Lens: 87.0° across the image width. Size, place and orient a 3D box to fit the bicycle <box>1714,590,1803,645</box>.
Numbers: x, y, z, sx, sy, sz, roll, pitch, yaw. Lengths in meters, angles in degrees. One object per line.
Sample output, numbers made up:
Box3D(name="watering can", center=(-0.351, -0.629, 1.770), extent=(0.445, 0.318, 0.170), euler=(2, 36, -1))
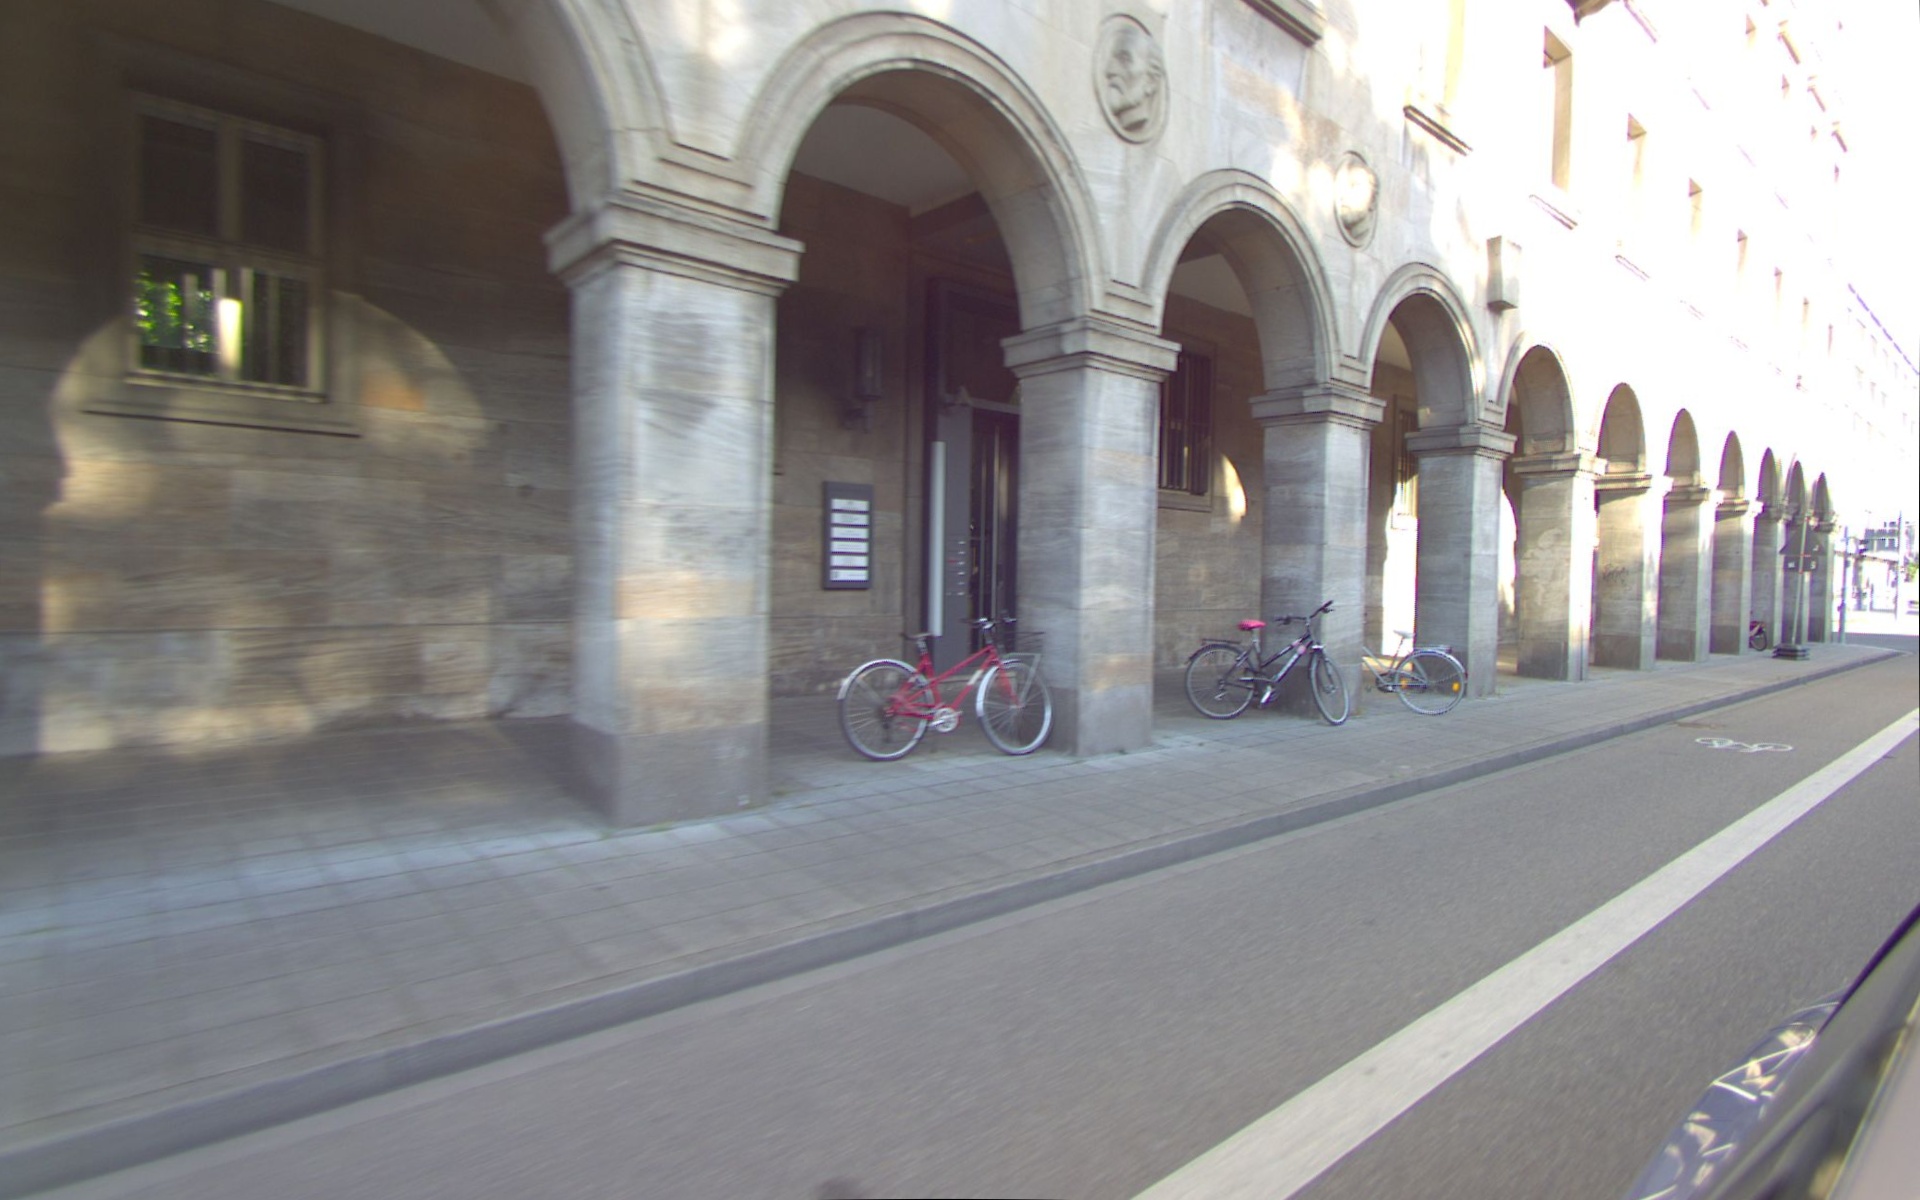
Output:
Box3D(name="bicycle", center=(18.889, 0.397, 23.991), extent=(0.651, 1.147, 1.714), euler=(2, 3, -1))

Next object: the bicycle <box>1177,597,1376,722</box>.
Box3D(name="bicycle", center=(3.021, 0.557, 9.778), extent=(1.682, 1.063, 0.612), euler=(2, 2, 3))

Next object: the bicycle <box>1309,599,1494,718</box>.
Box3D(name="bicycle", center=(4.677, 0.584, 10.784), extent=(1.703, 1.063, 0.521), euler=(4, 3, 35))

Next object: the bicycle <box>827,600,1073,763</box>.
Box3D(name="bicycle", center=(-0.065, 0.560, 7.283), extent=(1.677, 1.063, 0.473), euler=(1, 3, -22))
